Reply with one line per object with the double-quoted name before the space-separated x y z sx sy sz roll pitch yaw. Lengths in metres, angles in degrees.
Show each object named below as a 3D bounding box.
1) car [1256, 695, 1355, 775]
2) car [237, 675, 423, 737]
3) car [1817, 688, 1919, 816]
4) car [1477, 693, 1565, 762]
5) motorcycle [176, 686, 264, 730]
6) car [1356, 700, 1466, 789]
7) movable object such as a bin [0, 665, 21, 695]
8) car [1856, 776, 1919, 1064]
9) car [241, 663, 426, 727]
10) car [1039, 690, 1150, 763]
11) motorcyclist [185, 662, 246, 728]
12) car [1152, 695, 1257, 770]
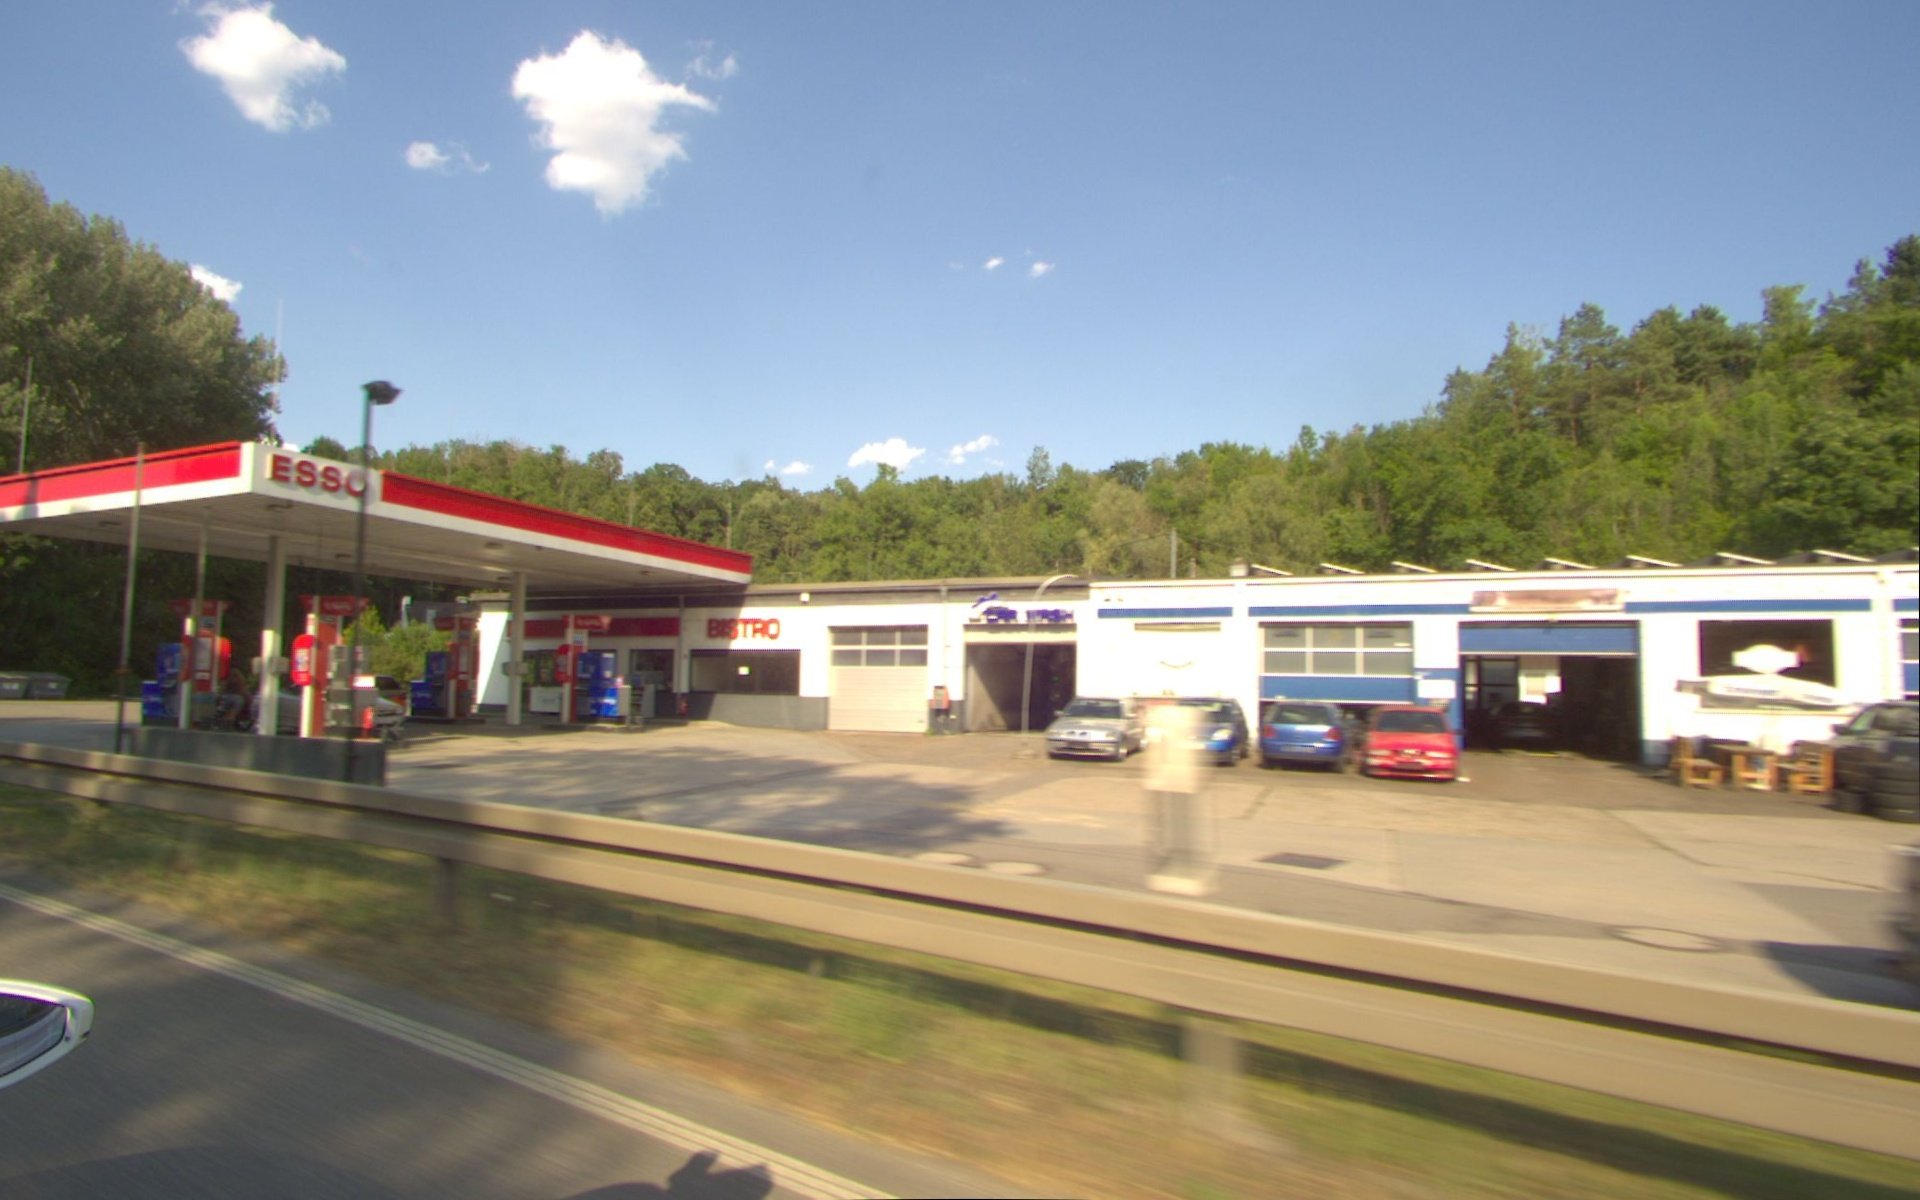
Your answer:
"car" 7.529 2.831 21.607 1.705 1.463 3.548 0 -4 24
"car" -15.664 2.585 24.897 4.318 1.335 1.844 0 -4 25
"car" 15.838 2.412 16.076 1.859 1.750 4.253 0 -2 22
"car" 16.258 3.642 29.188 1.714 1.580 4.024 0 -2 22
"motorcycle" -19.043 2.755 25.774 2.302 1.024 0.762 0 -4 24
"car" 9.254 2.869 20.588 1.864 1.365 4.070 0 -3 24
"movable object such as a bin" -49.019 3.989 50.327 2.508 1.436 1.272 1 -6 11
"car" 7.249 1.783 4.767 4.214 1.369 1.821 -1 -4 35
"car" -18.491 2.751 29.546 5.094 1.647 2.095 0 -4 24
"car" 3.236 2.897 23.514 1.746 1.371 3.964 0 -3 20
"motorcyclist" -19.247 2.447 25.896 0.912 1.624 0.859 0 -4 24
"car" 5.544 2.889 22.449 1.663 1.423 3.554 0 -4 24
